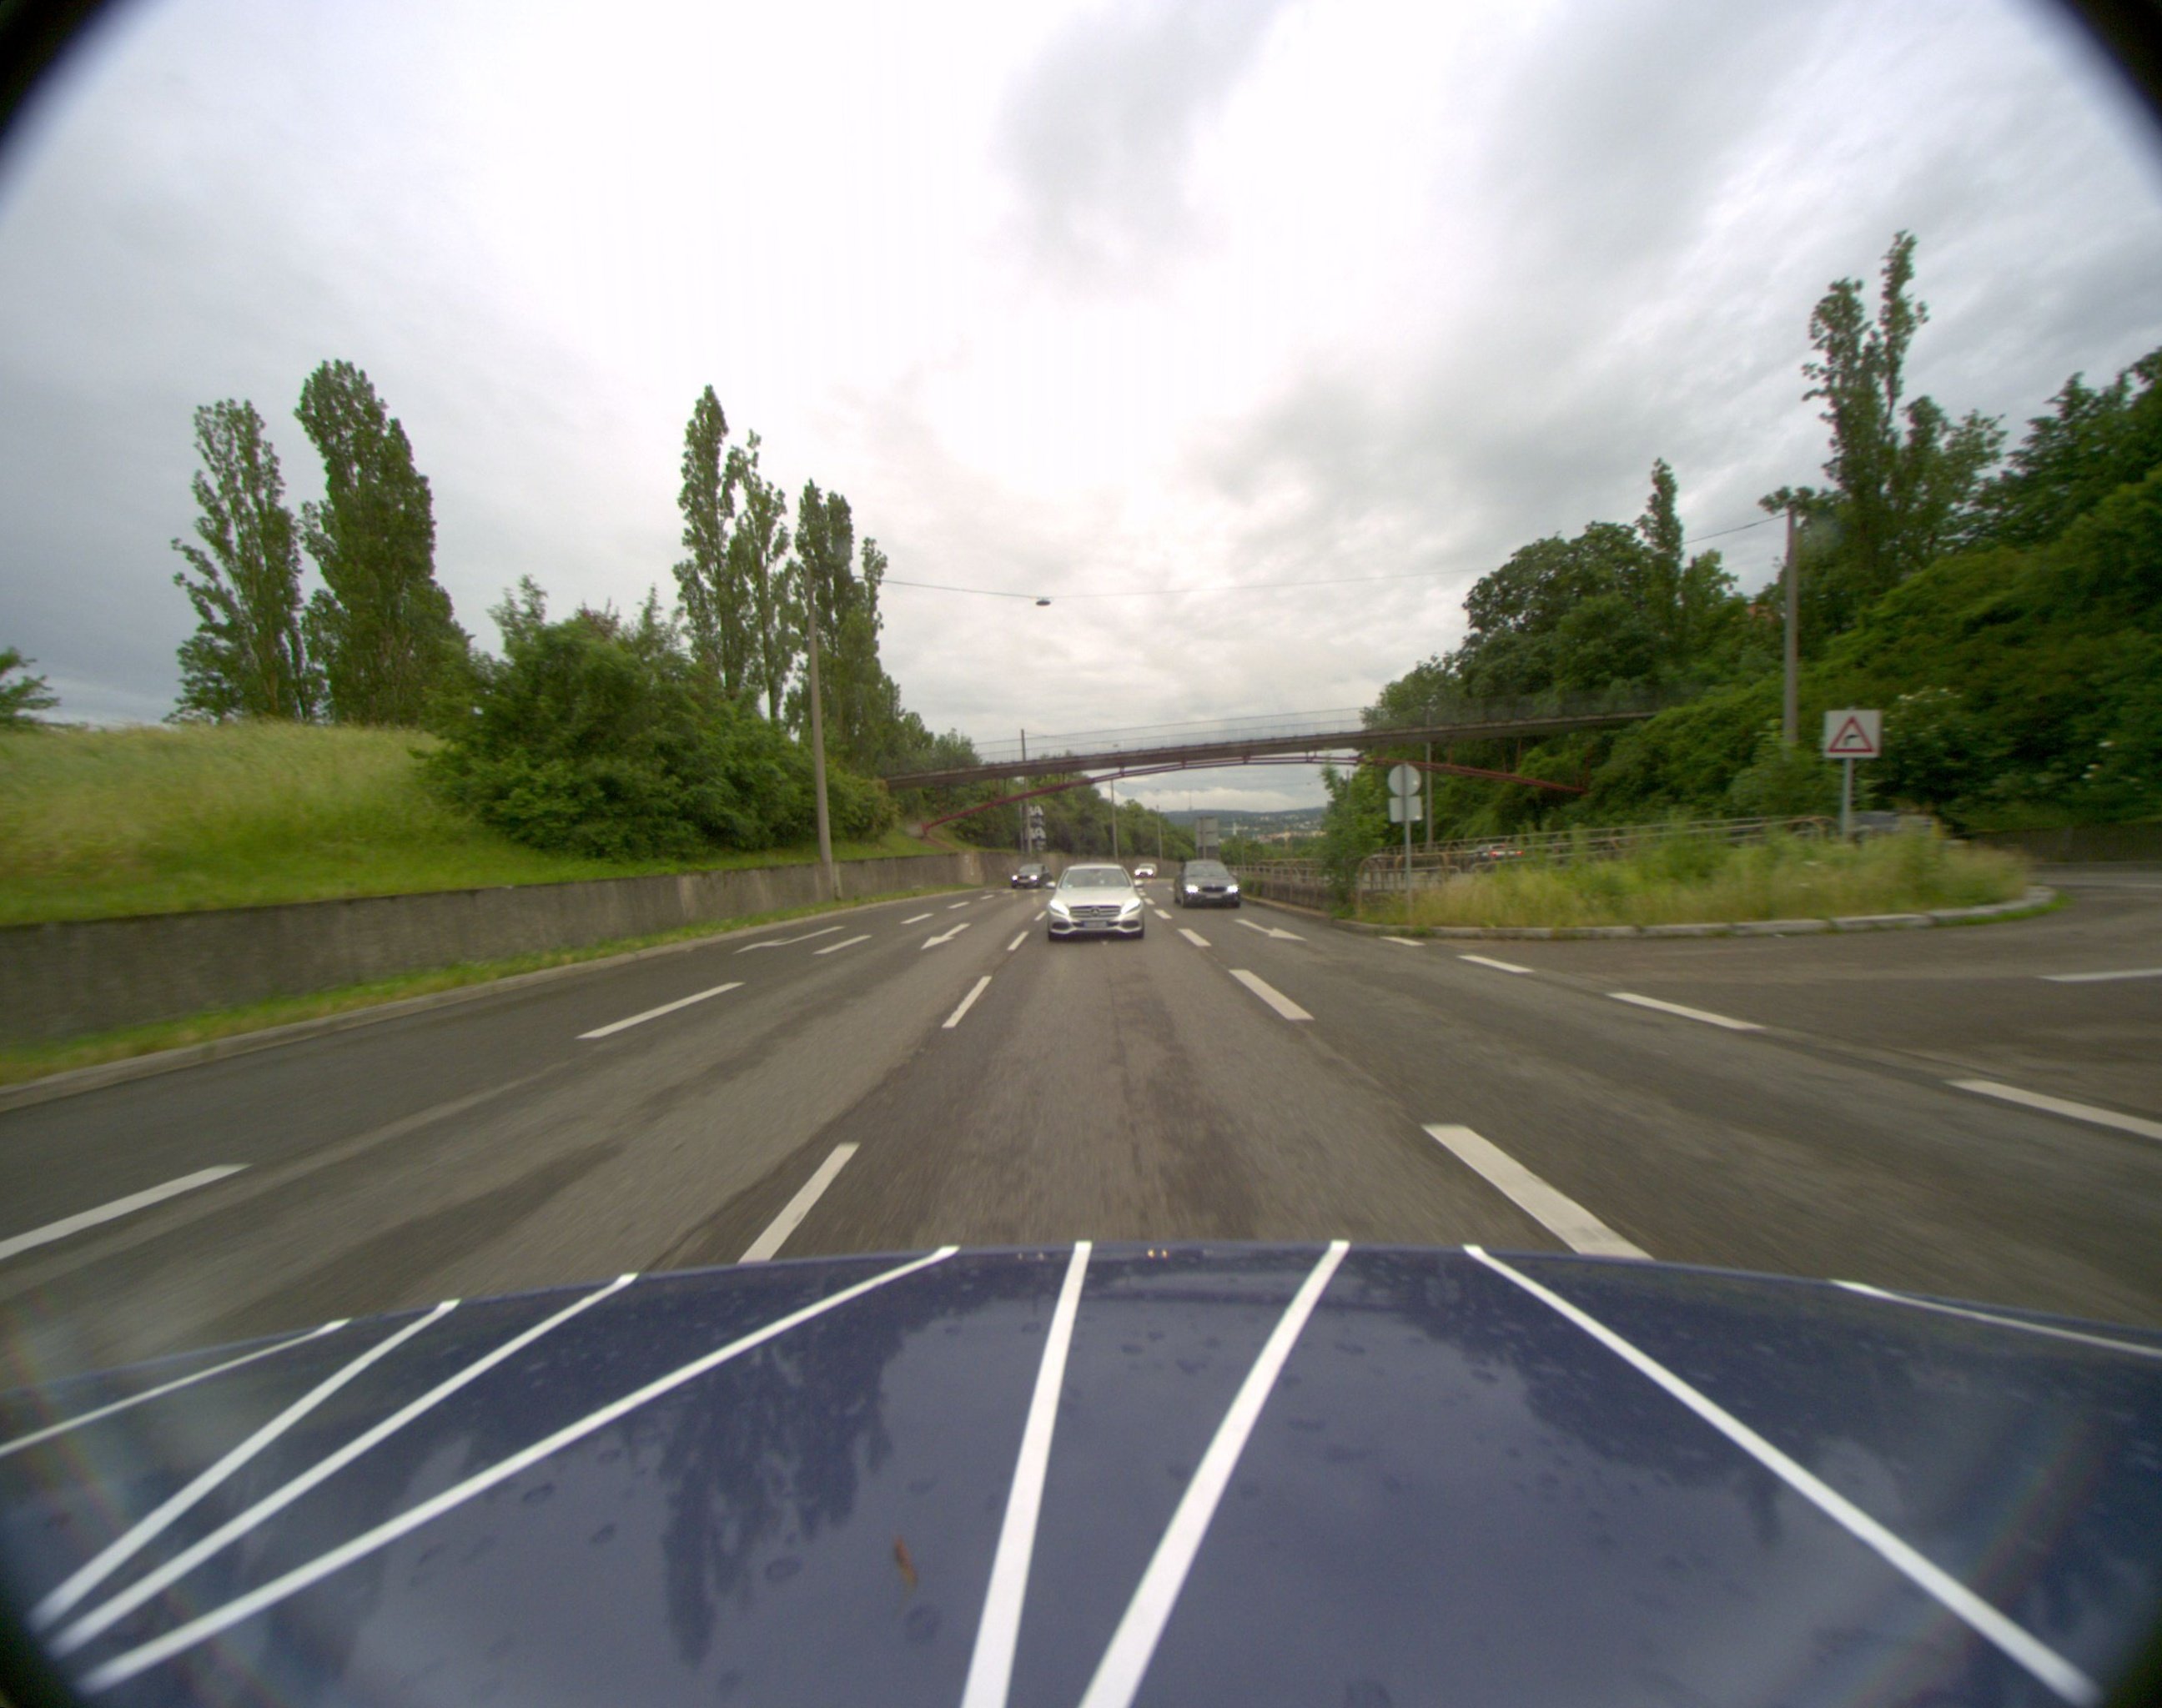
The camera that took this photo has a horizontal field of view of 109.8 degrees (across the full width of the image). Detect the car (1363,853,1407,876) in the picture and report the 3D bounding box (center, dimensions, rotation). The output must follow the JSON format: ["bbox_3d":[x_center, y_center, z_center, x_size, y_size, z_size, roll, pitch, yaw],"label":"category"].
[{"bbox_3d":[23.664,0.797,59.338,1.997,1.711,4.707,1,0,7],"label":"car"}]

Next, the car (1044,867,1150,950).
[{"bbox_3d":[0.397,0.995,15.536,1.861,1.395,4.316,0,0,3],"label":"car"}]

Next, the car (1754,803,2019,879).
[{"bbox_3d":[20.772,-0.308,19.991,1.998,1.627,4.723,-4,0,2],"label":"car"}]

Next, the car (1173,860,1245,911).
[{"bbox_3d":[3.967,0.945,24.097,1.729,1.462,3.888,-1,-1,2],"label":"car"}]

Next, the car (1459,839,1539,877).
[{"bbox_3d":[21.945,0.199,40.090,1.998,1.824,4.632,-2,0,6],"label":"car"}]

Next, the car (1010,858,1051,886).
[{"bbox_3d":[-2.913,1.056,44.673,1.809,1.501,4.001,-2,-1,4],"label":"car"}]

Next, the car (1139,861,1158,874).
[{"bbox_3d":[8.369,1.695,93.841,1.808,1.501,4.004,-2,-1,11],"label":"car"}]

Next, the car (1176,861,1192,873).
[{"bbox_3d":[13.884,1.711,102.675,1.808,1.501,4.004,-2,-1,12],"label":"car"}]
